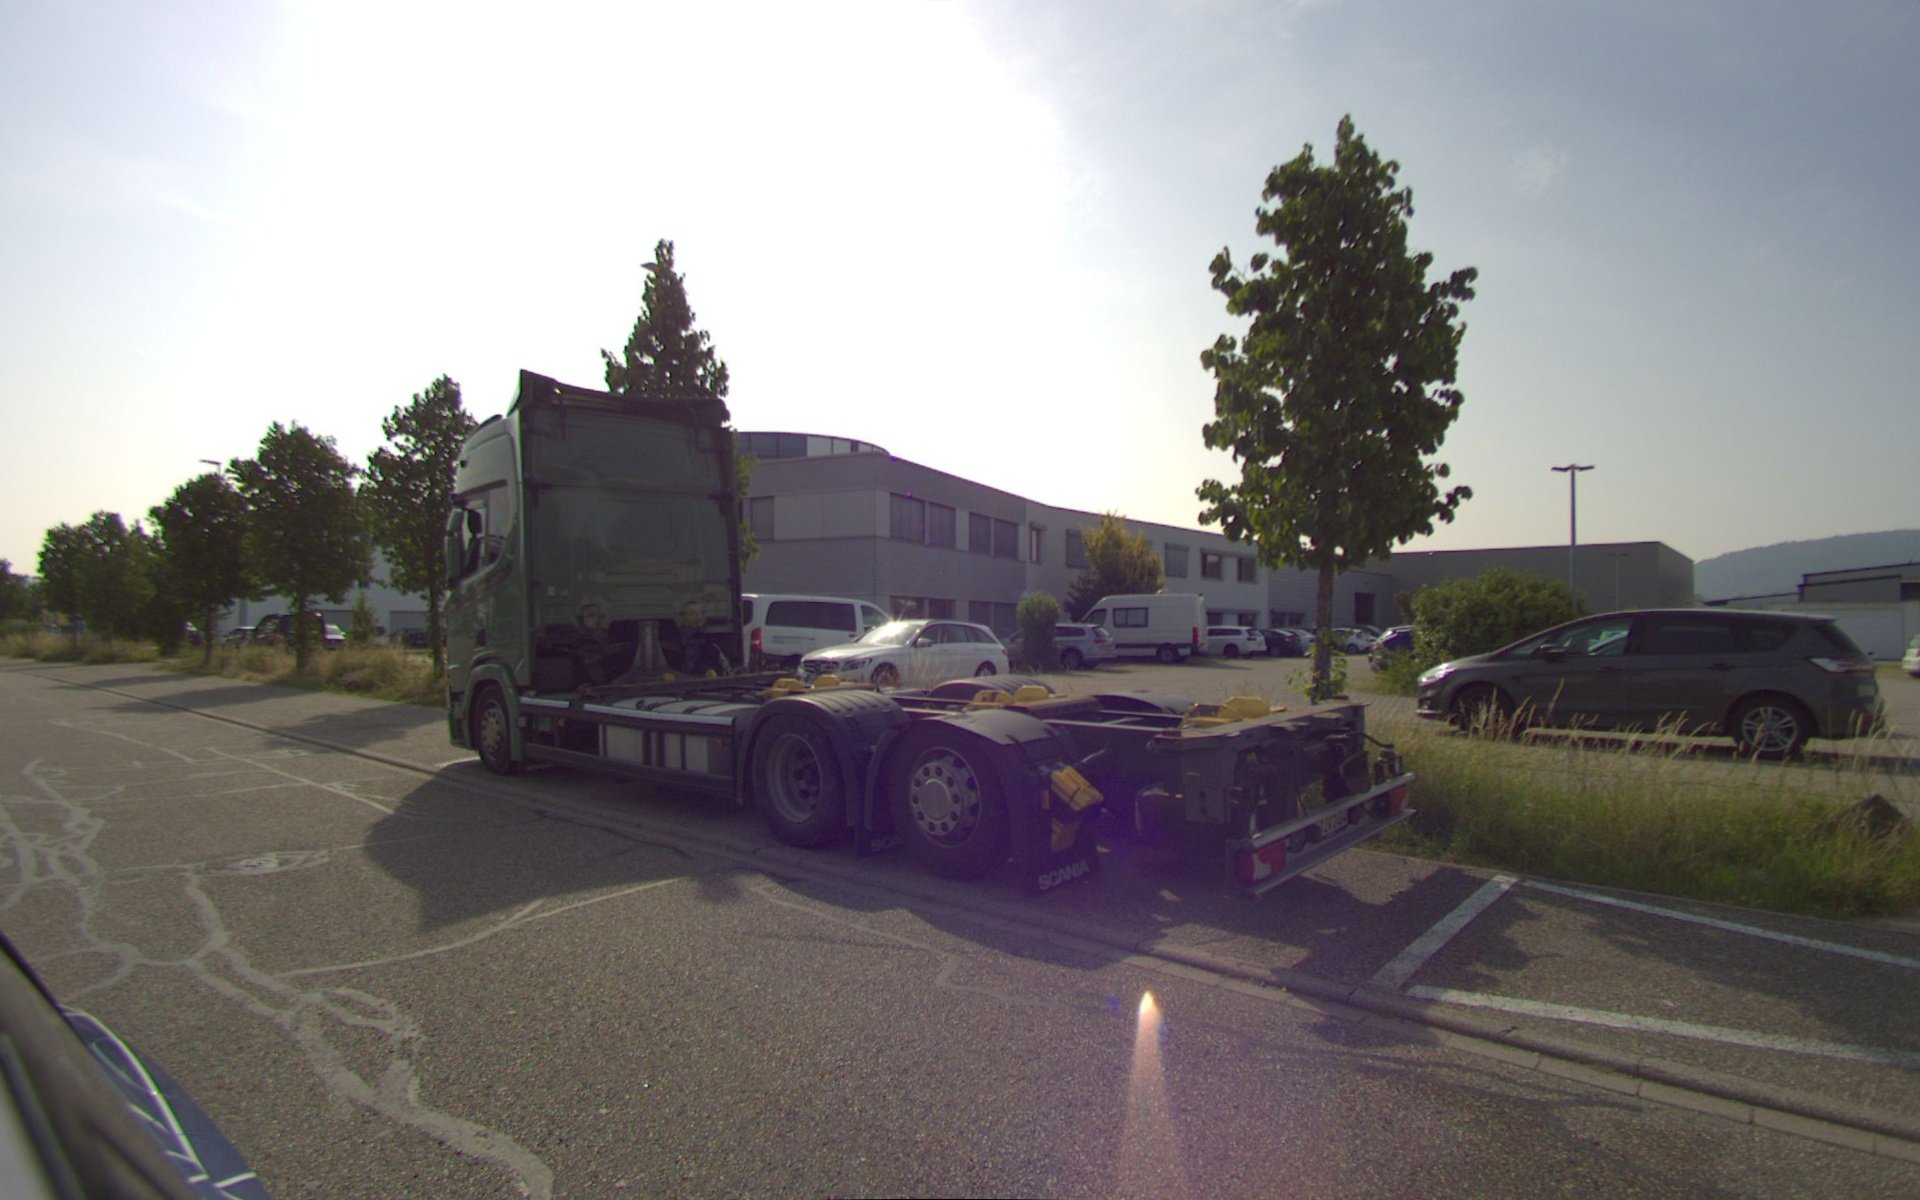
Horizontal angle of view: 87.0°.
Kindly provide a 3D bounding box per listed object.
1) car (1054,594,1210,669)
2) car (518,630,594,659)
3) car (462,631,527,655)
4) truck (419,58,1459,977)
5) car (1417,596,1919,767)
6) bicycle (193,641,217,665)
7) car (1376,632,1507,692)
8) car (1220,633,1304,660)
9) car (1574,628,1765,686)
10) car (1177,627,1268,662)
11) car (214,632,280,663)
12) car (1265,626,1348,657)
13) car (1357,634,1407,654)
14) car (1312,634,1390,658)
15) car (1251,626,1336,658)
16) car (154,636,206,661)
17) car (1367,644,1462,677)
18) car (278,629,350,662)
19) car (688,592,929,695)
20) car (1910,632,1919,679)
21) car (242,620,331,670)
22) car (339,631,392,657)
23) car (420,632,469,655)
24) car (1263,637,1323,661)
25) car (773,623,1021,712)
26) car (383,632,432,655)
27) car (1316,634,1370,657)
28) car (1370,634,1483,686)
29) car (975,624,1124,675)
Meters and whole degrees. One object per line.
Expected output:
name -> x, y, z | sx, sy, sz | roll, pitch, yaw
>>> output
car -> 6.570, 1.189, 38.885 | 5.718, 2.715, 1.696 | 0, -2, 25
car -> -21.090, 2.310, 52.697 | 4.779, 1.472, 1.697 | -2, -3, 41
car -> -27.919, 2.555, 60.604 | 4.376, 1.383, 1.715 | -2, -3, 38
truck -> -1.425, -0.307, 8.535 | 9.801, 3.911, 2.429 | -1, 0, 43
car -> 8.353, 0.904, 12.357 | 4.695, 1.699, 1.973 | -2, -3, 40
bicycle -> -31.097, 2.178, 41.677 | 0.534, 0.986, 1.871 | 2, -3, -45
car -> 11.791, 1.497, 24.911 | 2.843, 1.399, 1.182 | 0, -2, 24
car -> 14.948, 2.288, 50.165 | 3.725, 1.308, 1.559 | -1, -3, 39
car -> 18.939, 1.482, 27.255 | 3.983, 1.453, 1.882 | -1, -2, 29
car -> 11.947, 1.998, 46.097 | 3.725, 1.475, 1.559 | 0, -1, 39
car -> -35.897, 2.367, 50.933 | 3.914, 1.460, 1.768 | -2, -3, 40
car -> 19.387, 2.324, 56.717 | 3.996, 1.702, 1.779 | -2, -3, 40
car -> 25.588, 2.678, 61.399 | 2.705, 1.150, 1.078 | -1, -3, 33
car -> 23.379, 2.725, 60.574 | 3.997, 1.381, 1.810 | -2, -3, 41
car -> 18.063, 2.262, 54.829 | 3.996, 1.702, 1.779 | -2, -3, 40
car -> -45.299, 2.799, 58.768 | 3.917, 1.420, 1.735 | -2, -3, 42
car -> 14.949, 1.982, 33.317 | 2.705, 1.002, 1.078 | -1, -3, 33
car -> -33.507, 2.334, 52.471 | 4.506, 1.619, 1.922 | -2, -3, 41
car -> -2.972, 0.874, 20.743 | 2.102, 1.850, 4.655 | -2, -3, 41
car -> 32.907, 1.791, 31.808 | 4.136, 1.492, 1.563 | 0, -2, 30
car -> -28.778, 1.913, 43.180 | 4.988, 2.029, 1.862 | -2, -4, 41
car -> -38.724, 2.838, 65.888 | 3.917, 1.631, 1.885 | -2, -3, 42
car -> -35.308, 2.960, 69.255 | 3.917, 1.479, 1.735 | -2, -3, 42
car -> 16.847, 2.471, 51.183 | 2.705, 1.186, 1.078 | -1, -3, 33
car -> -1.032, 1.161, 18.849 | 1.998, 1.442, 4.679 | -2, -2, 39
car -> -36.990, 2.901, 67.737 | 3.917, 1.479, 1.735 | -2, -3, 42
car -> 21.809, 2.586, 57.608 | 2.705, 1.240, 1.078 | -1, -3, 33
car -> 12.530, 1.601, 27.307 | 2.697, 1.324, 1.182 | 0, -2, 24
car -> 2.856, 1.557, 32.521 | 4.500, 1.492, 1.566 | 0, -2, 26
